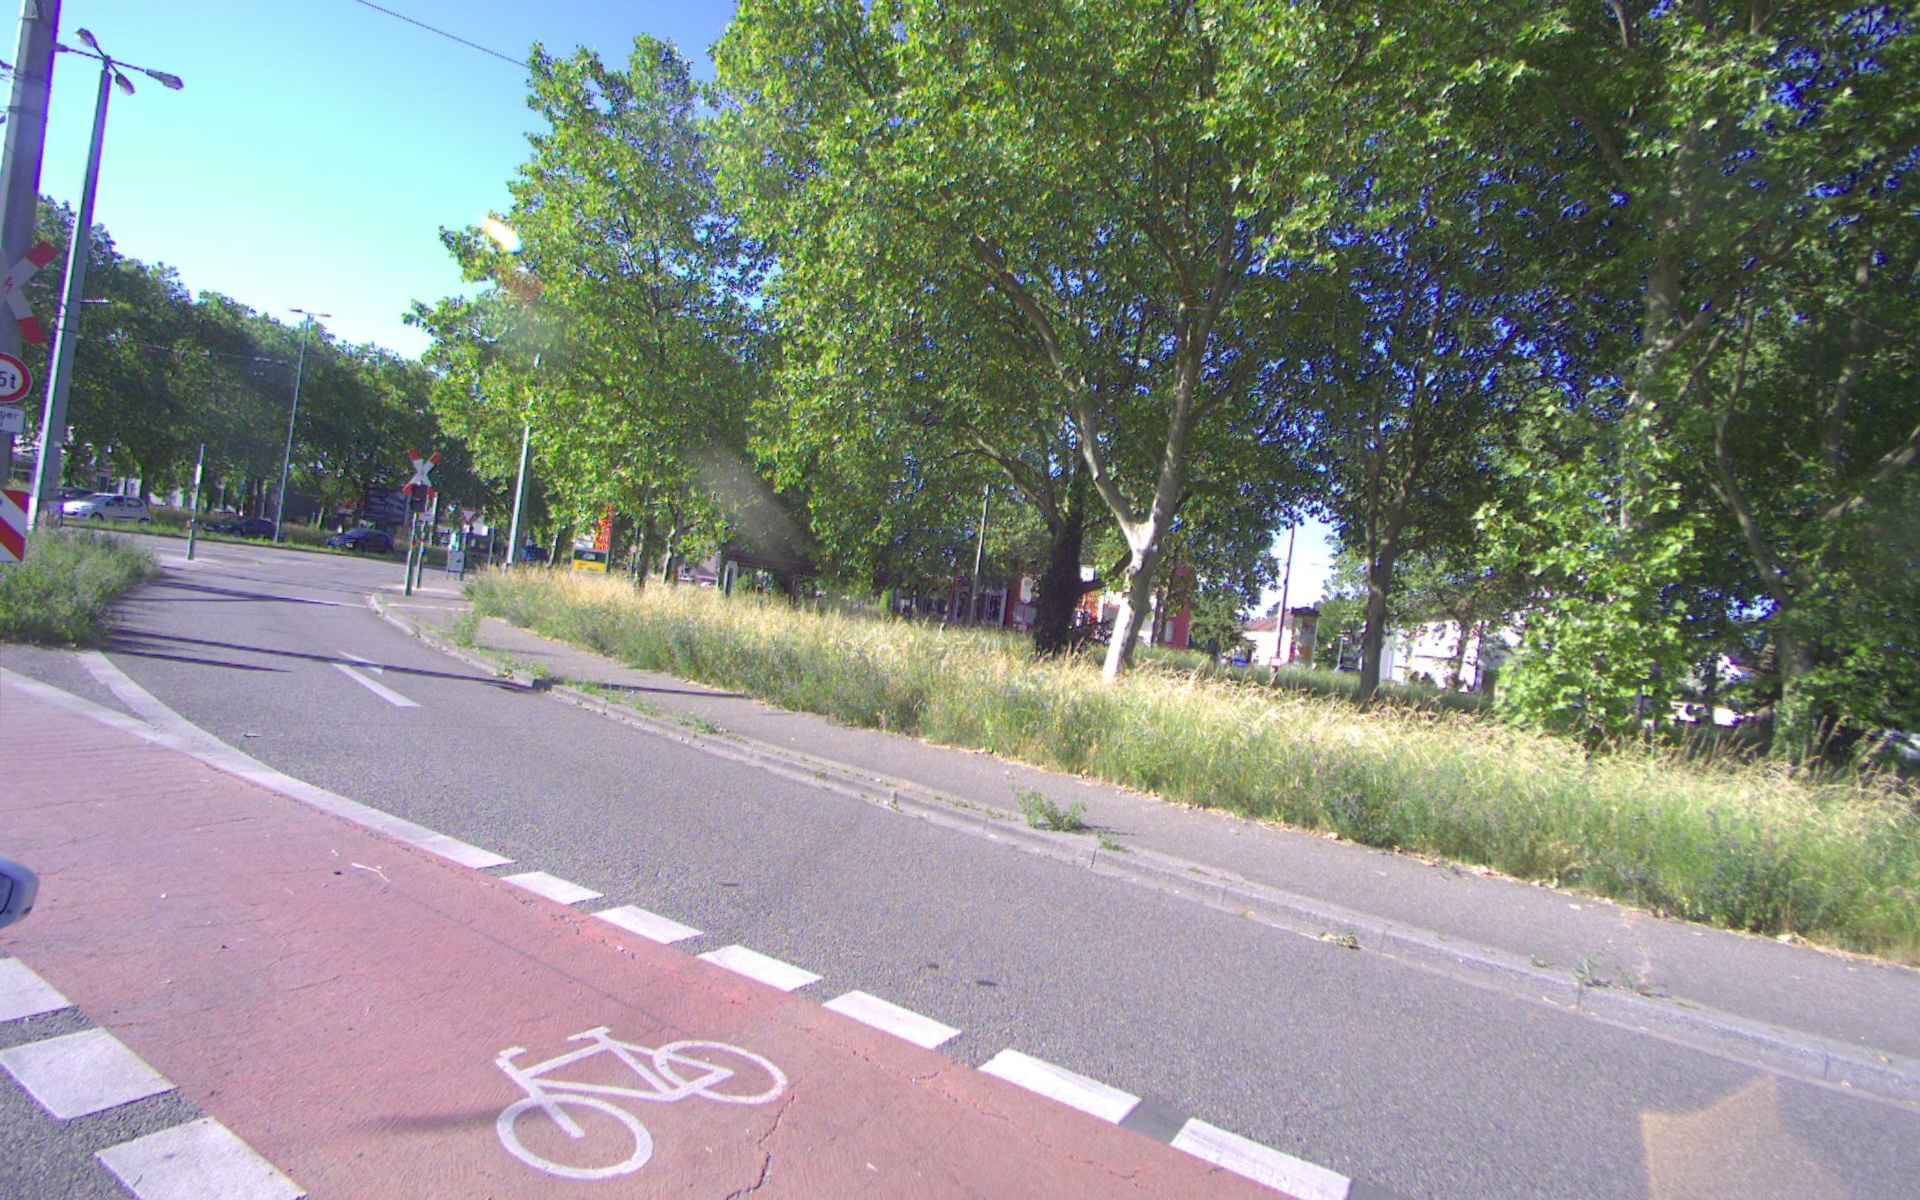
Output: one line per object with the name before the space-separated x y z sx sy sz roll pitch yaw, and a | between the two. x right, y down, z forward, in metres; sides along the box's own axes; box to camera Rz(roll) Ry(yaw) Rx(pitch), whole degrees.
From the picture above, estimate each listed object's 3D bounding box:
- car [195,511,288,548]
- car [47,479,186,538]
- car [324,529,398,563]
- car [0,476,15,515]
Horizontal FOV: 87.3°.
car | -42.795 -4.164 60.030 1.661 1.593 4.528 7 -1 9
car | -40.610 -4.376 48.623 1.962 2.038 4.907 7 -1 9
car | -35.799 -3.202 60.274 1.562 1.563 3.986 7 -1 7
car | -41.215 -4.540 40.763 1.575 1.549 4.002 7 0 9
